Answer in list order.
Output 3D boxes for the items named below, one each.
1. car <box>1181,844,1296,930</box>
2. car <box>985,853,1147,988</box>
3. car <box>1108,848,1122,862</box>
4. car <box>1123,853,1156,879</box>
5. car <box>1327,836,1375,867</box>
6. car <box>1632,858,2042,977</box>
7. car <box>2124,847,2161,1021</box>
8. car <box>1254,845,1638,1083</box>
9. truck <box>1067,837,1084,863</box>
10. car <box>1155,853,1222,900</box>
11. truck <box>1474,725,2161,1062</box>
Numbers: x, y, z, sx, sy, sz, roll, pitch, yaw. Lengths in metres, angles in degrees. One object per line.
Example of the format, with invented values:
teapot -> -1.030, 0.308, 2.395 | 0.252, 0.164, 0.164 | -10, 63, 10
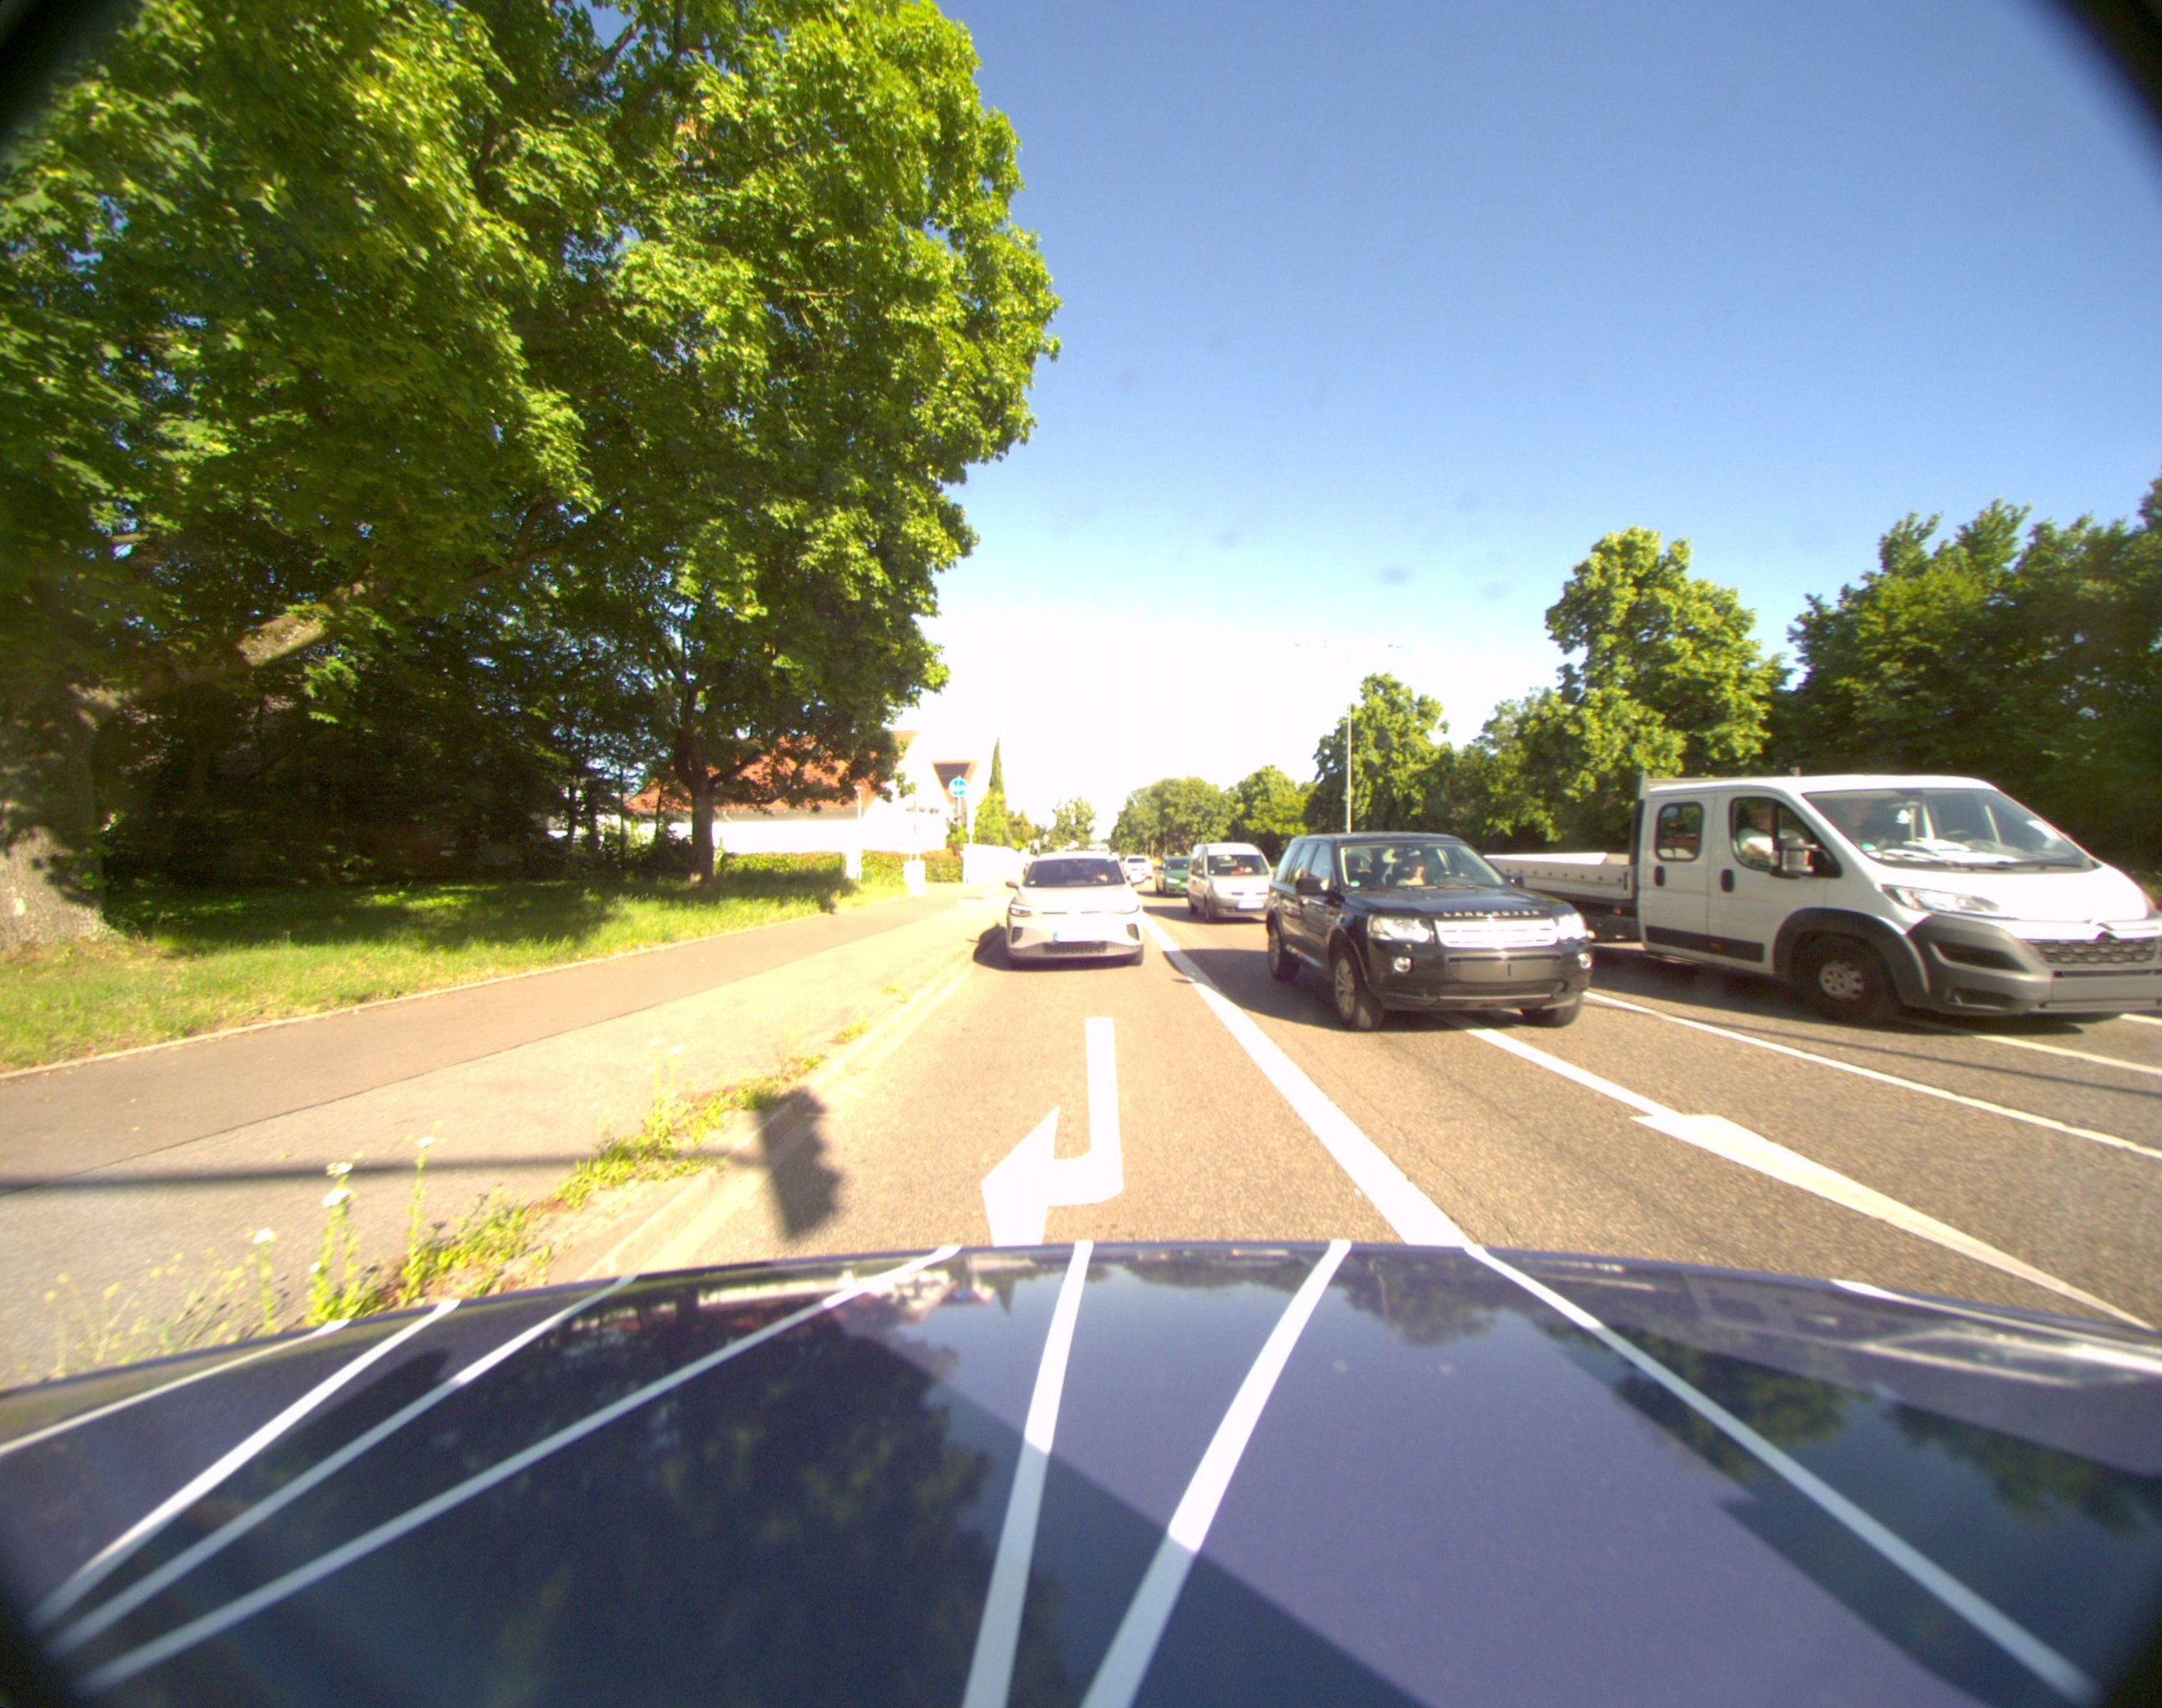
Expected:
car -> 3.526, 0.662, 17.826 | 1.919, 1.718, 4.365 | -2, 0, 2
car -> -0.095, 0.841, 11.778 | 1.992, 1.631, 4.365 | -2, 0, 2
car -> 4.696, 0.164, 104.769 | 1.798, 1.787, 3.911 | -2, 0, 1
car -> 3.682, 0.751, 48.661 | 1.919, 1.477, 4.365 | -2, 0, 2
car -> 19.591, -0.177, 55.374 | 1.917, 2.072, 4.539 | -2, 0, 1
car -> 10.760, 0.788, 11.409 | 1.835, 1.397, 4.355 | 0, 0, 1
car -> 10.632, 0.731, 4.938 | 1.878, 1.565, 4.243 | 0, 0, 1
car -> 3.096, 0.774, 7.603 | 1.826, 1.674, 4.392 | -1, 0, 1
truck -> -0.632, -0.519, 94.975 | 1.998, 3.058, 5.807 | -2, 0, 0
car -> 3.792, 0.739, 27.450 | 1.919, 1.477, 4.365 | -2, 0, 2
truck -> 7.288, 0.261, 8.581 | 2.190, 2.296, 6.774 | 0, 0, 0
